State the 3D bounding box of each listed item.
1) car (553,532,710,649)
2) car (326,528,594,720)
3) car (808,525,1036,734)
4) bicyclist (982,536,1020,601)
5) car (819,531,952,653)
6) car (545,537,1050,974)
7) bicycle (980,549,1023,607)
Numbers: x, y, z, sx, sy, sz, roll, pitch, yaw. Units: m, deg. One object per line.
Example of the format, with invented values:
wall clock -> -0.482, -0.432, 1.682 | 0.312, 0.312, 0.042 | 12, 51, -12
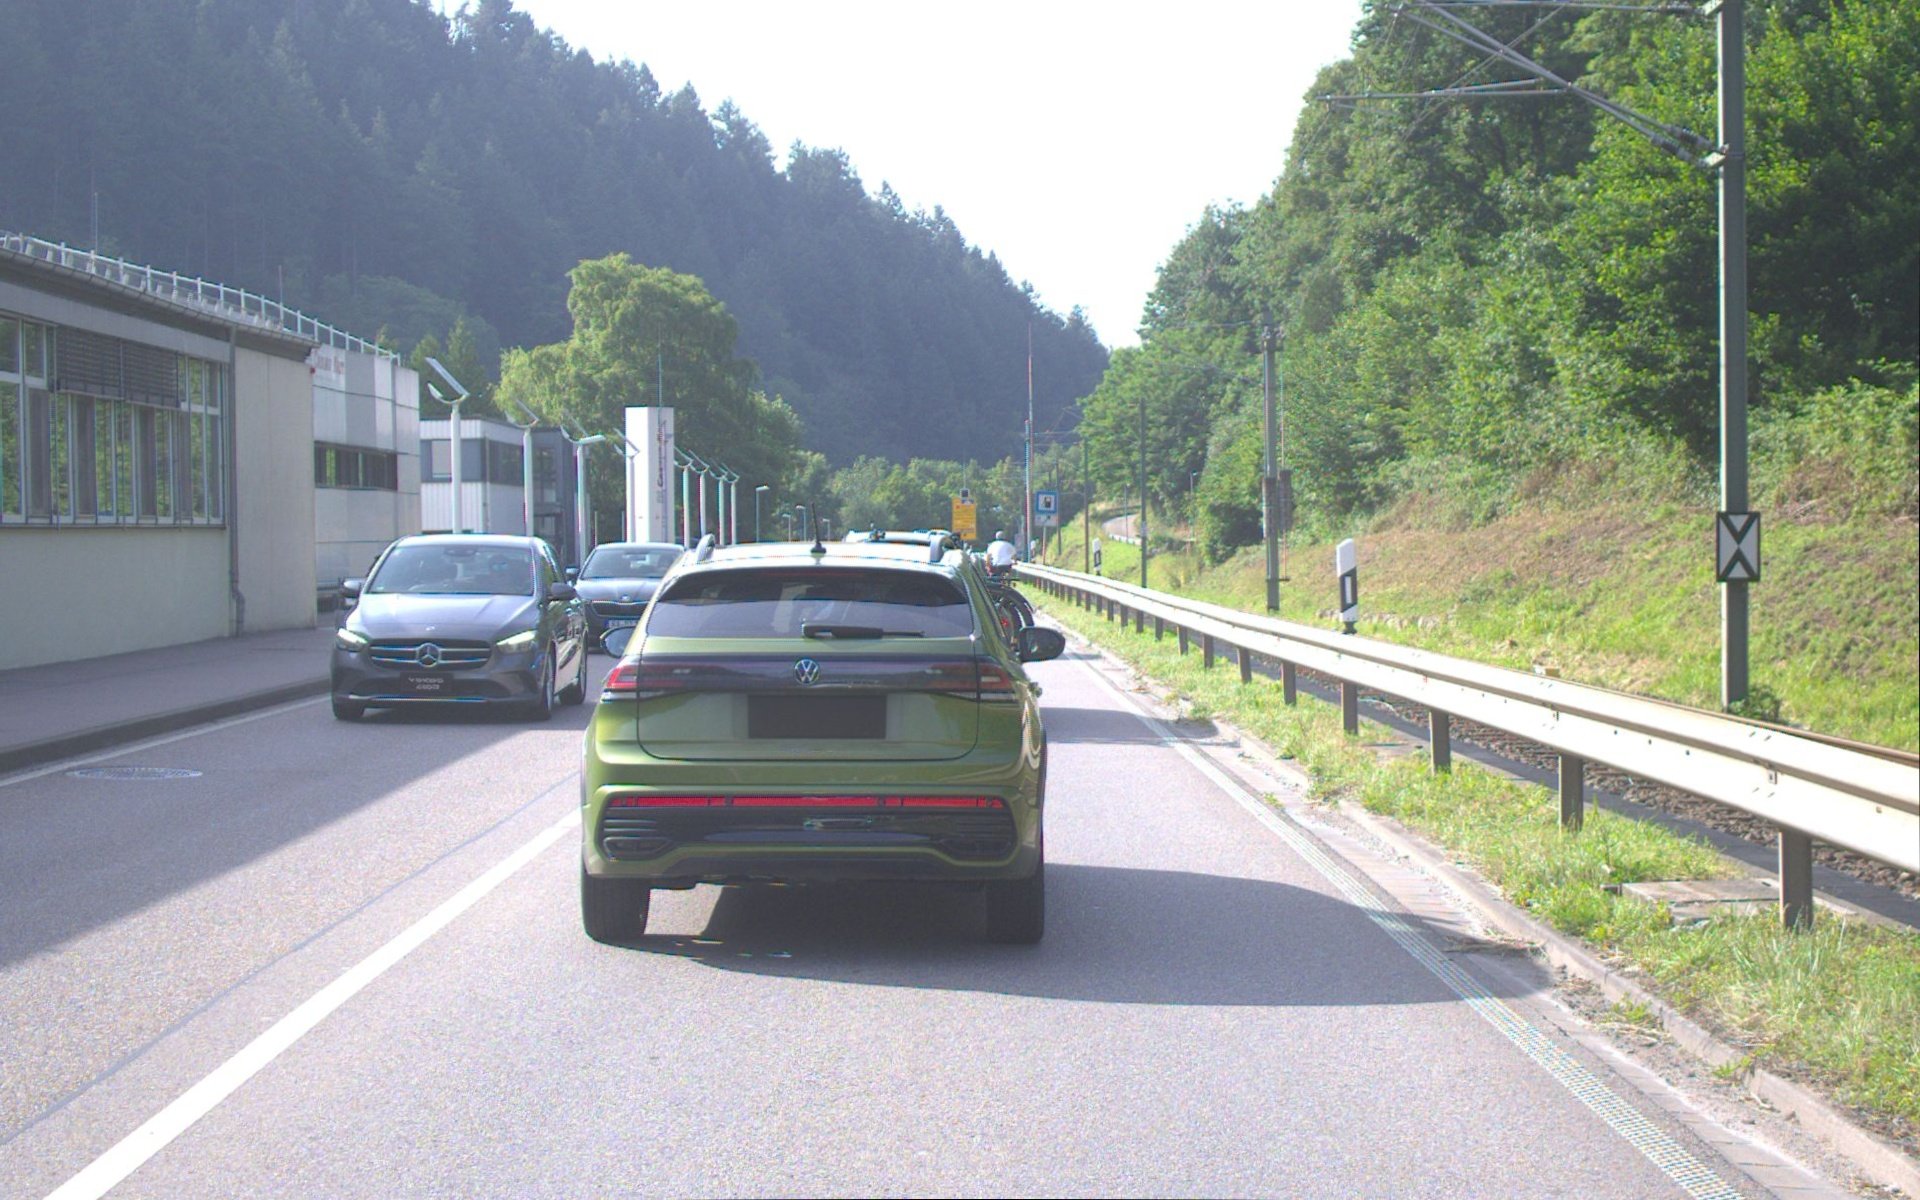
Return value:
car -> -4.402, -0.167, 46.559 | 1.773, 1.485, 4.052 | 1, 1, -1
car -> -4.216, 0.149, 29.556 | 1.719, 1.509, 4.199 | 1, 1, -1
car -> -0.342, 0.187, 28.373 | 1.739, 1.596, 4.000 | 0, 1, -1
bicyclist -> 0.894, -0.682, 74.730 | 0.781, 1.407, 0.675 | 0, 1, -2
car -> -1.025, -0.143, 47.104 | 1.739, 1.596, 4.000 | 0, 1, -1
car -> -0.608, 0.501, 13.873 | 1.739, 1.503, 4.000 | 0, 1, -1
bicycle -> 0.904, -0.486, 74.629 | 0.811, 1.246, 2.123 | 0, 1, -2
